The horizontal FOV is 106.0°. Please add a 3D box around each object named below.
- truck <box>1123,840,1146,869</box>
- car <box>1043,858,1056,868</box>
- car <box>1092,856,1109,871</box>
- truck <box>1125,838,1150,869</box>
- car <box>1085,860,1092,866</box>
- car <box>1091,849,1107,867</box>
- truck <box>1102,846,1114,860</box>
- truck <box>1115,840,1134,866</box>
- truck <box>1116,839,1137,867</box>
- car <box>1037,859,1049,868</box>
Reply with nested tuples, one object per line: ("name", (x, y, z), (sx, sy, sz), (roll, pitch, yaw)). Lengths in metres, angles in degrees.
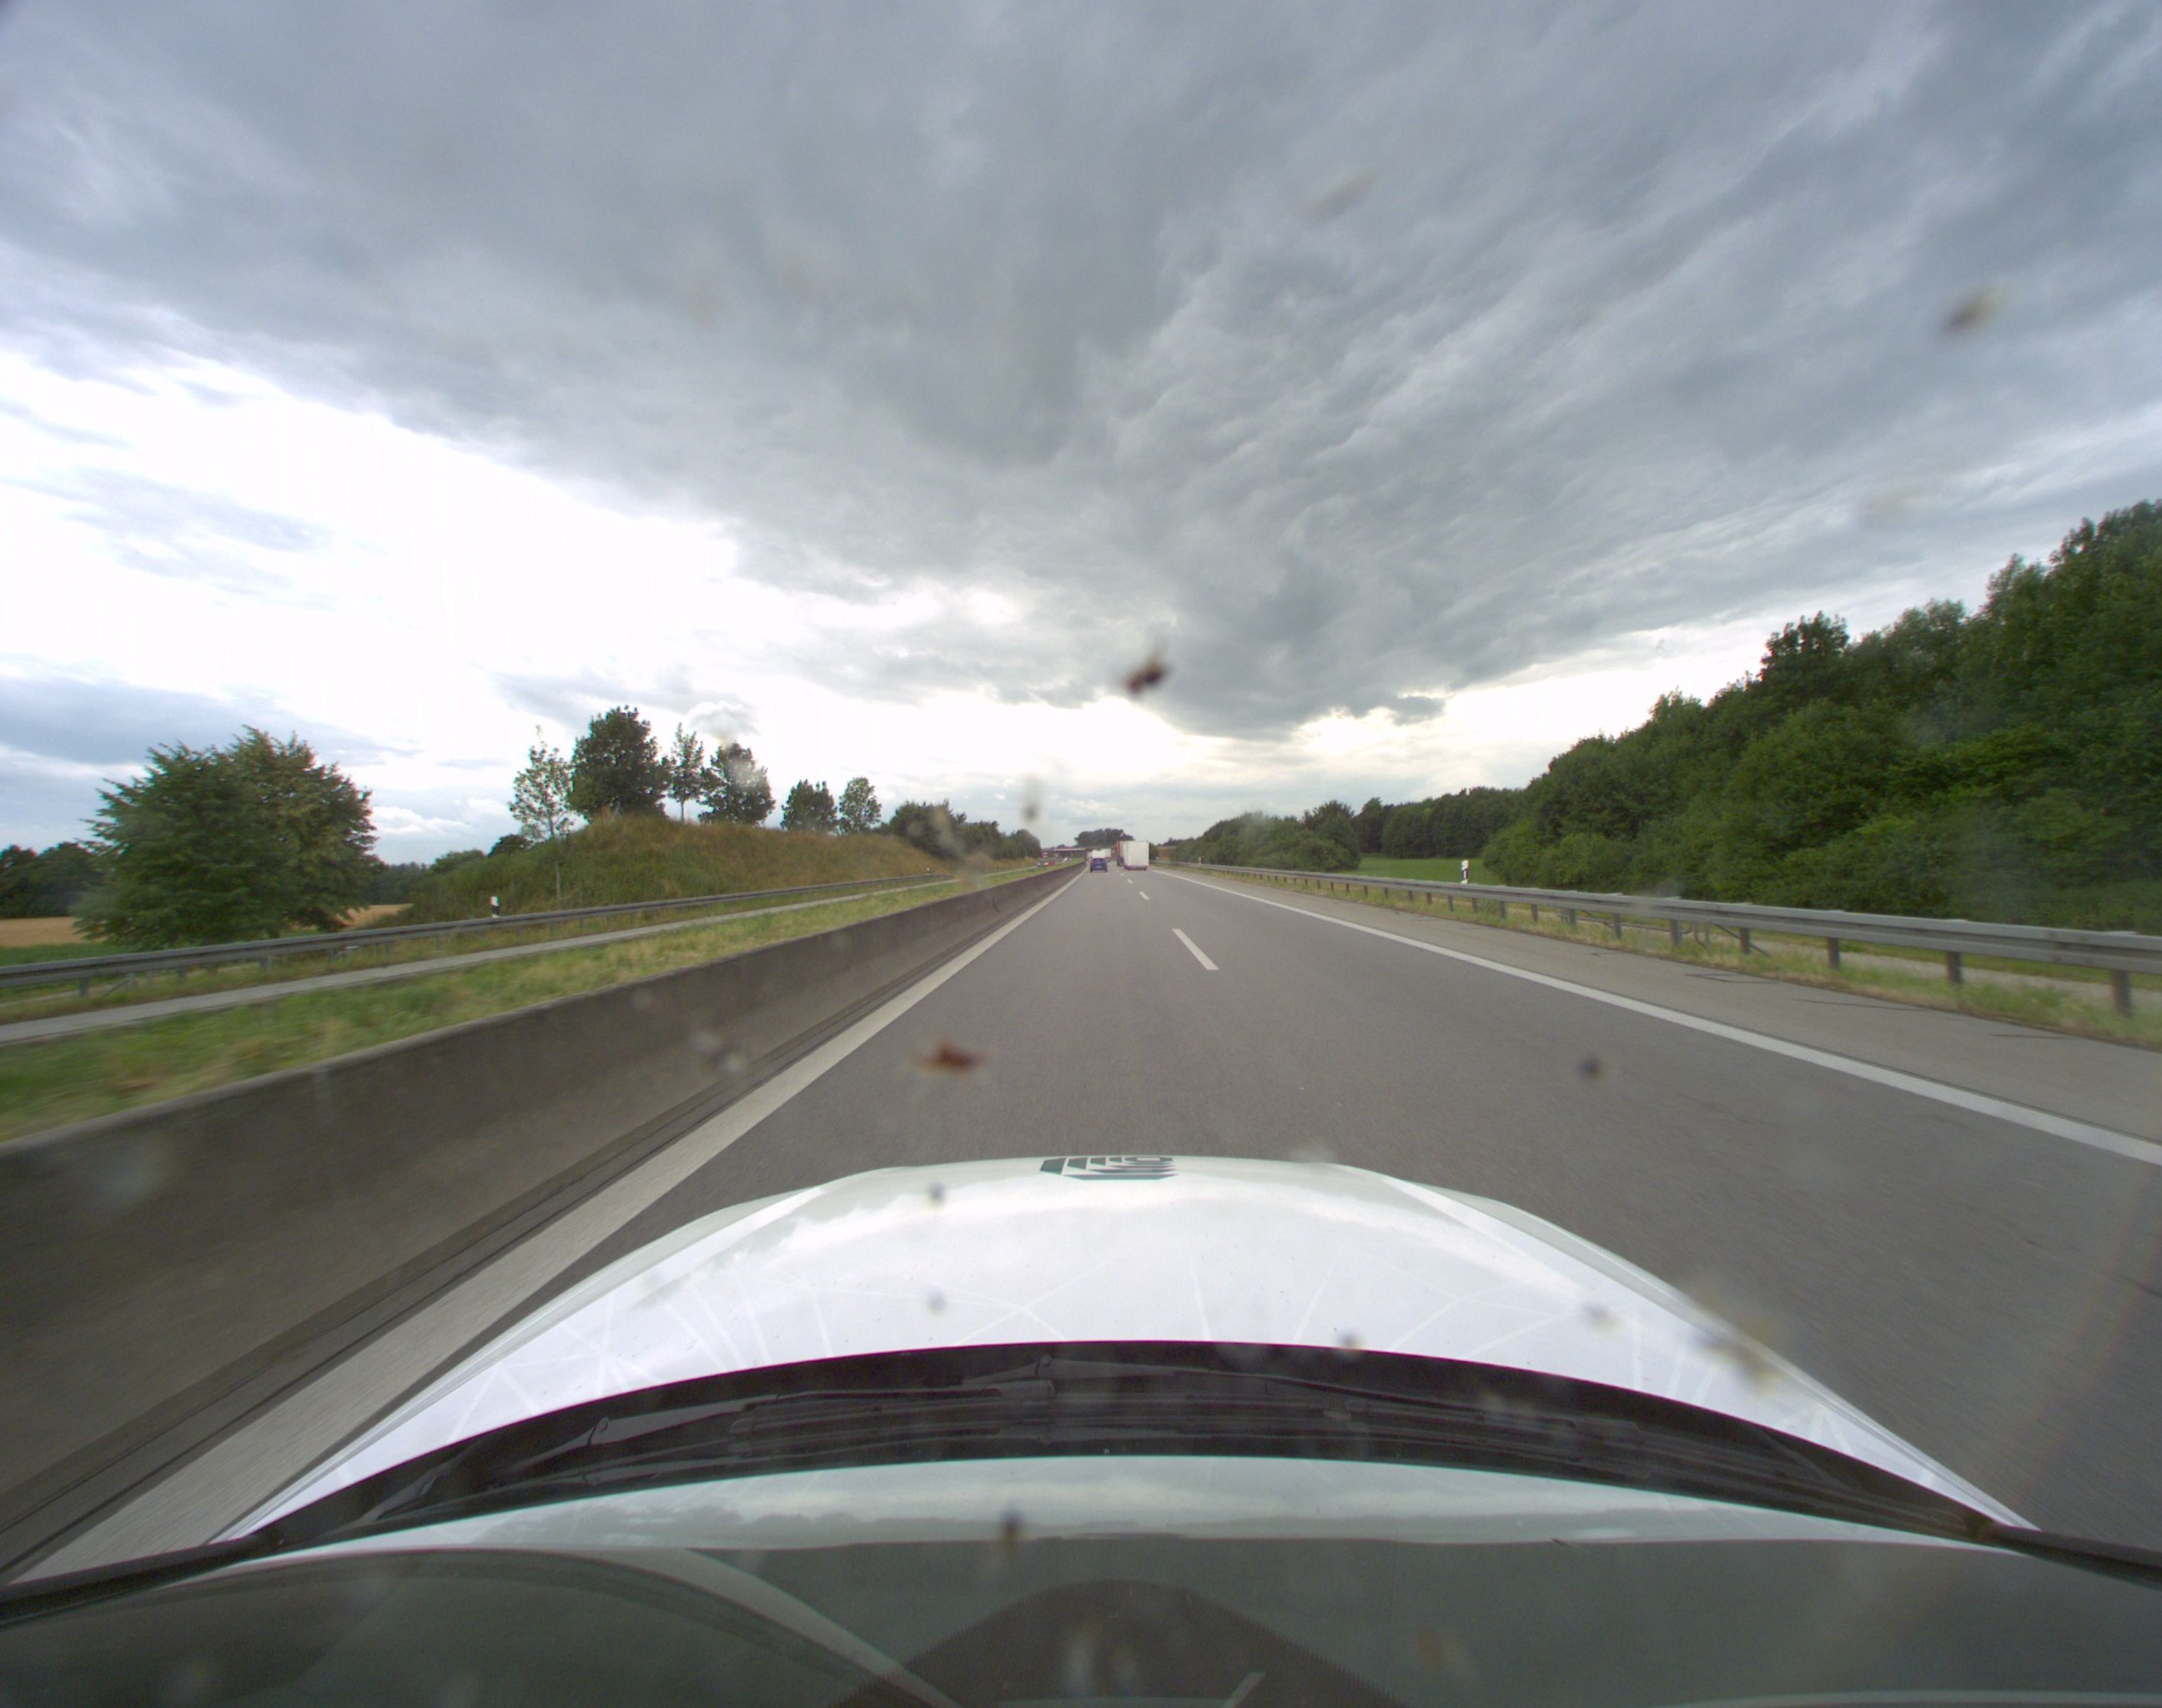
("truck", (6.299, 0.052, 96.572), (2.421, 3.243, 7.249), (-1, 0, 1))
("car", (-5.112, 1.475, 133.114), (1.839, 1.571, 4.362), (-3, 0, 1))
("car", (1.921, 0.957, 80.414), (1.657, 1.407, 3.649), (-1, 0, 1))
("truck", (6.118, -0.005, 89.380), (2.406, 3.222, 7.145), (-1, 0, 1))
("car", (2.221, 2.529, 238.454), (1.988, 1.684, 3.997), (-1, 0, -2))
("car", (2.548, 0.562, 117.467), (2.123, 2.483, 5.839), (-2, -1, 1))
("truck", (7.816, -0.236, 238.546), (3.101, 3.689, 9.320), (-4, 0, 0))
("truck", (7.010, -0.169, 131.595), (2.663, 4.045, 5.514), (-2, 0, 1))
("truck", (6.970, -0.158, 126.250), (2.663, 4.045, 11.110), (-2, 0, 1))
("car", (-7.285, 1.827, 156.457), (1.839, 1.497, 4.581), (-4, 0, 1))
